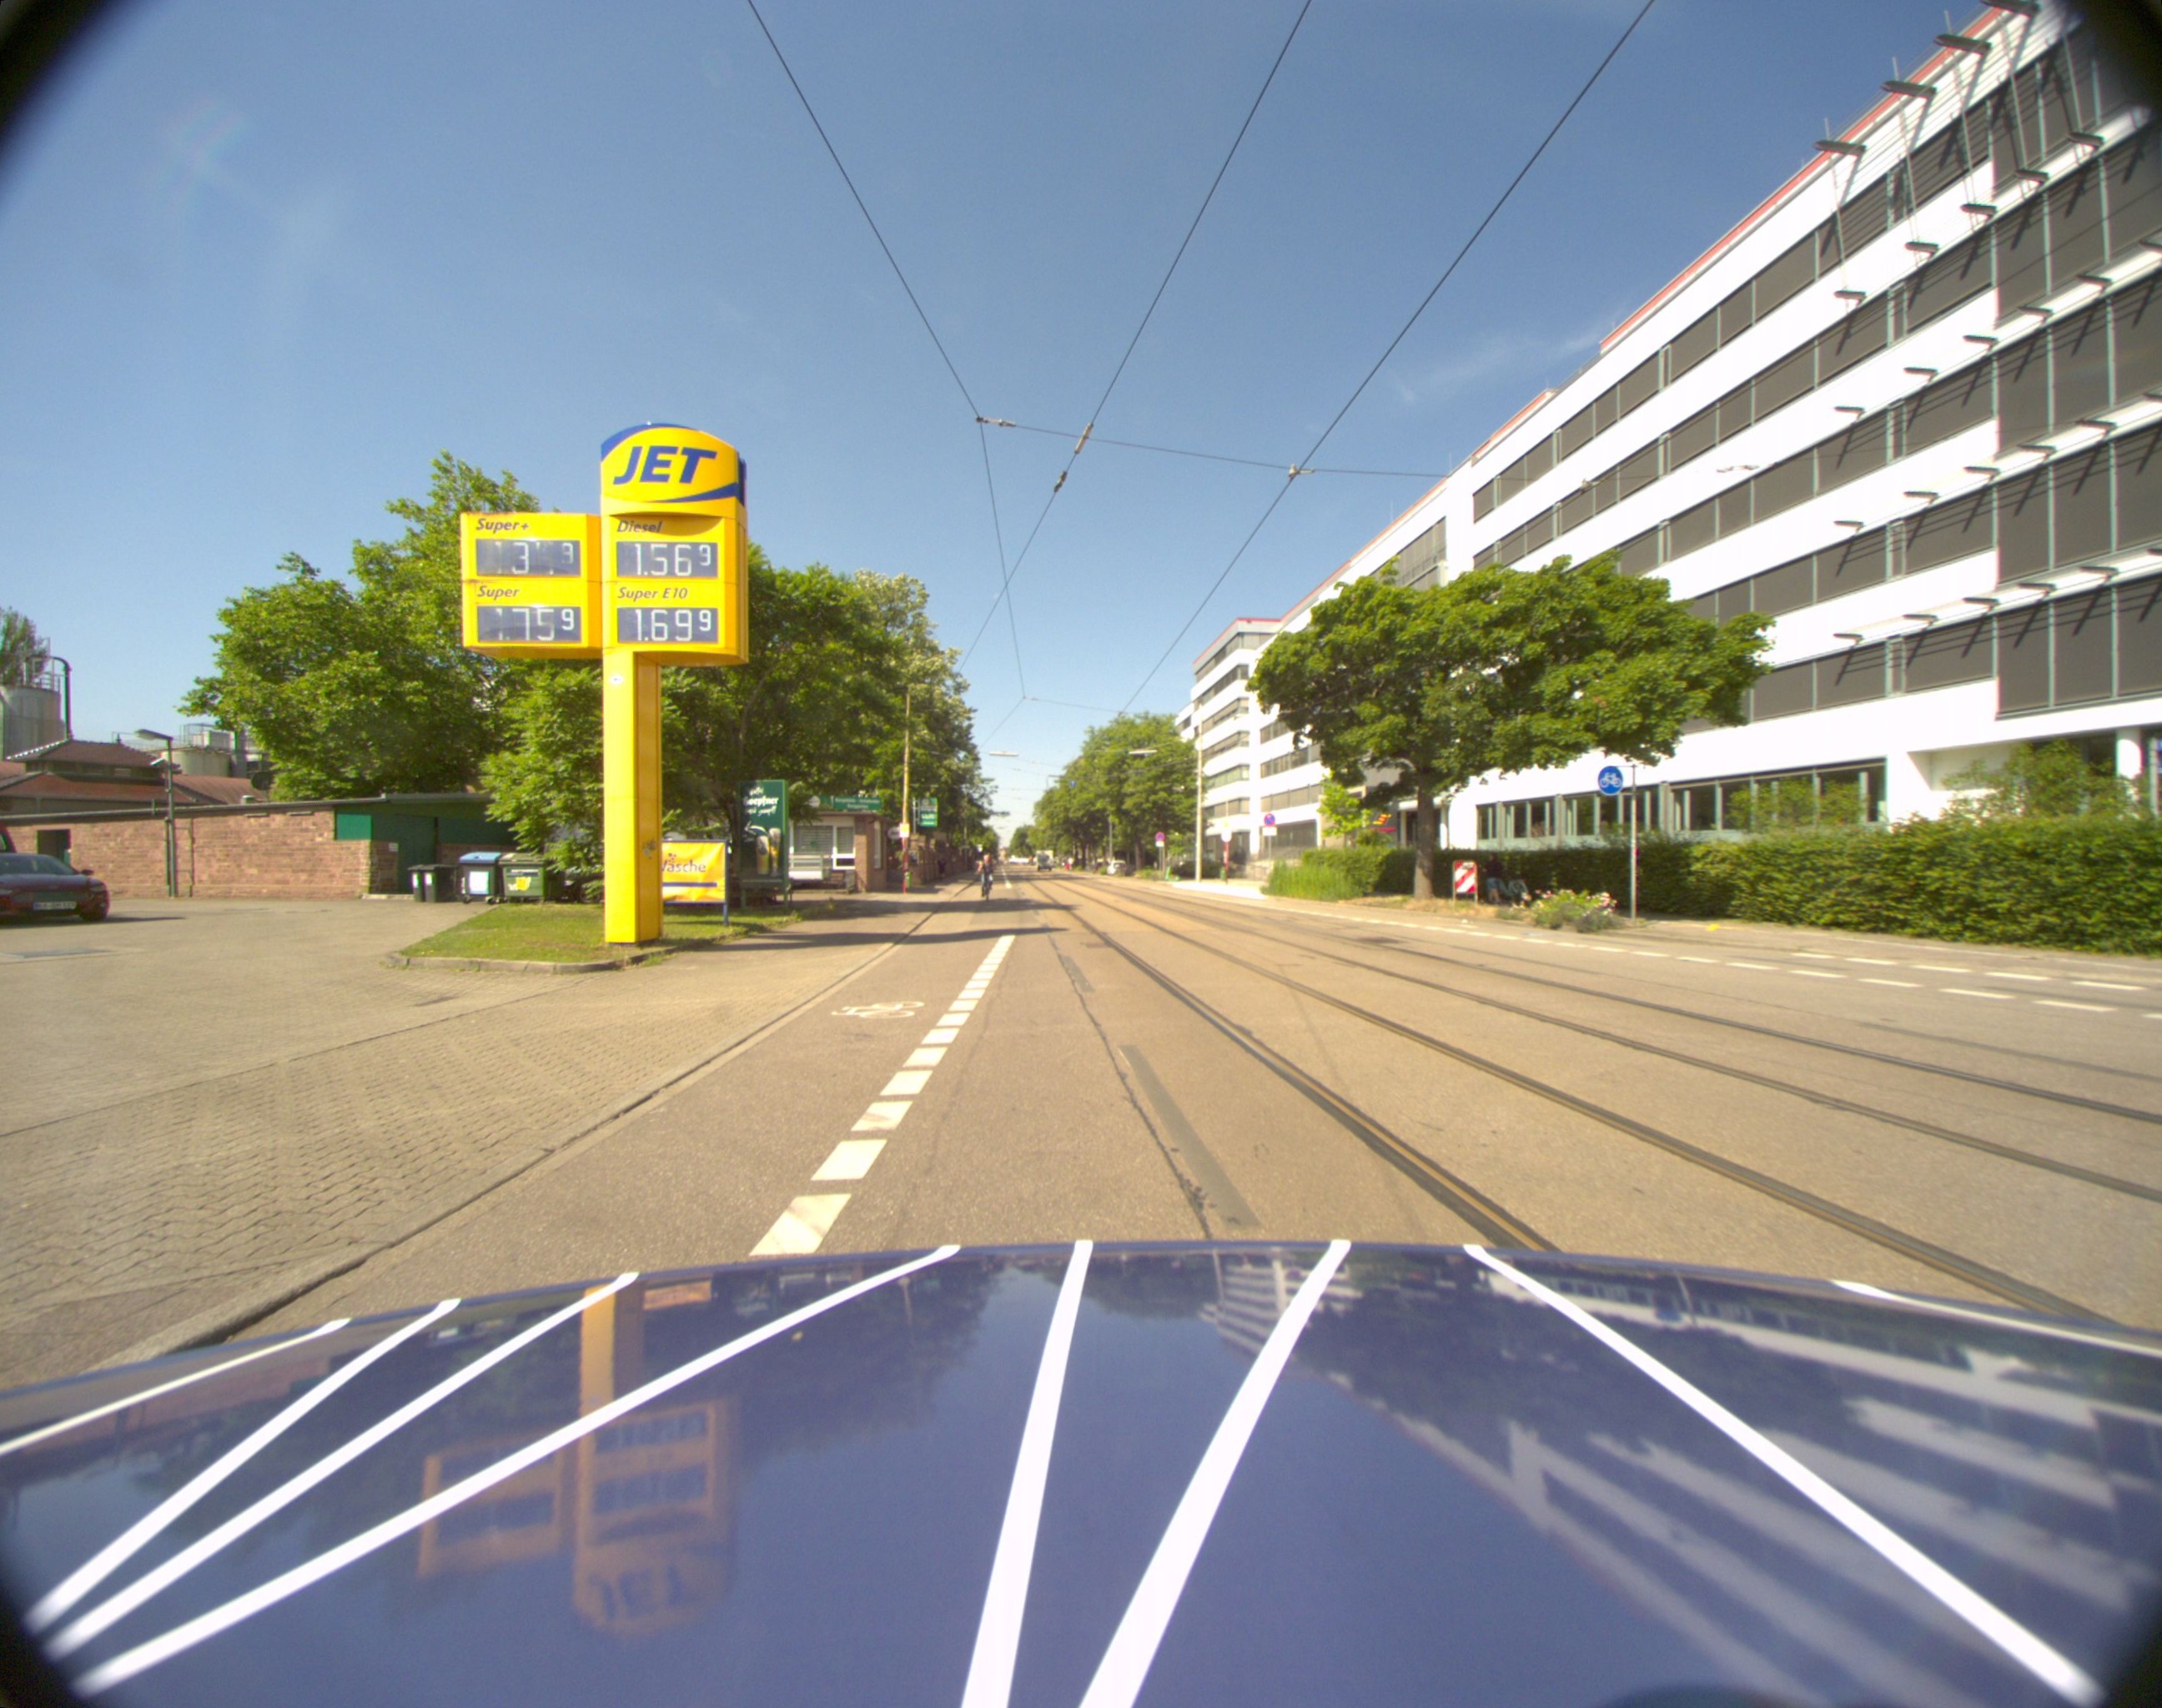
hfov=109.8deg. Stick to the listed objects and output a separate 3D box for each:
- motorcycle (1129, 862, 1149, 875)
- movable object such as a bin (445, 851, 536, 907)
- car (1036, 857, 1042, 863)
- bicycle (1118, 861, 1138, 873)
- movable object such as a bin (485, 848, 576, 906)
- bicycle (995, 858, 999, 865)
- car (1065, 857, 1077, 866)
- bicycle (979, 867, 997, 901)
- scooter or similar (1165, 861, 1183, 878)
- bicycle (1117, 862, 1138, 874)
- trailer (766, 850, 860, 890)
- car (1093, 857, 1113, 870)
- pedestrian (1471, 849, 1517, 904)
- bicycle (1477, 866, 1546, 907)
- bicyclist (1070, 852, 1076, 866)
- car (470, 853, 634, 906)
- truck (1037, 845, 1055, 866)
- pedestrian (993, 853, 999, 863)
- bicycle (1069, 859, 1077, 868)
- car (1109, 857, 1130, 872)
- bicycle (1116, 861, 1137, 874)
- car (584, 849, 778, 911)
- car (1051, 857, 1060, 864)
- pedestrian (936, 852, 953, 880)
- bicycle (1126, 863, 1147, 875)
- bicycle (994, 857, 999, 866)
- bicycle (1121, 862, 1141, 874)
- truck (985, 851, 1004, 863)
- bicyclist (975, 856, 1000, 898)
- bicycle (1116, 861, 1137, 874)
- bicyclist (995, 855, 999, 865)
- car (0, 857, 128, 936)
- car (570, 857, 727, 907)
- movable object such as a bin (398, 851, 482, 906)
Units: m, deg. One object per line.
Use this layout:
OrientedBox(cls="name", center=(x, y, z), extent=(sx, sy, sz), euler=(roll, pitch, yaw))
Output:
OrientedBox(cls="motorcycle", center=(5.168, 1.280, 67.933), extent=(1.729, 1.080, 0.658), euler=(-1, 0, -6))
OrientedBox(cls="movable object such as a bin", center=(-16.408, 0.668, 21.159), extent=(1.420, 1.493, 1.380), euler=(0, 0, 11))
OrientedBox(cls="car", center=(-12.290, 1.733, 221.037), extent=(1.635, 1.463, 4.112), euler=(-1, 0, -5))
OrientedBox(cls="bicycle", center=(4.324, 1.239, 70.142), extent=(1.798, 1.080, 0.726), euler=(-1, 0, -6))
OrientedBox(cls="movable object such as a bin", center=(-14.764, 0.603, 20.438), extent=(1.421, 1.493, 1.379), euler=(0, 0, -2))
OrientedBox(cls="bicycle", center=(-13.563, 1.218, 122.889), extent=(0.593, 1.099, 2.053), euler=(0, 0, -5))
OrientedBox(cls="car", center=(-1.704, 1.292, 127.251), extent=(1.635, 1.463, 3.717), euler=(-1, 0, -7))
OrientedBox(cls="bicycle", center=(-3.568, 1.130, 29.127), extent=(0.612, 1.190, 2.122), euler=(-3, 0, -7))
OrientedBox(cls="scooter or similar", center=(6.412, 1.049, 52.460), extent=(1.129, 1.159, 0.675), euler=(-1, 0, -3))
OrientedBox(cls="bicycle", center=(4.349, 1.322, 70.677), extent=(1.854, 1.125, 0.680), euler=(-1, 0, -6))
OrientedBox(cls="trailer", center=(-10.948, 0.630, 31.214), extent=(3.283, 1.594, 1.723), euler=(0, 0, -4))
OrientedBox(cls="car", center=(2.487, 1.066, 88.410), extent=(1.635, 1.474, 4.270), euler=(0, 0, -8))
OrientedBox(cls="pedestrian", center=(11.957, 0.635, 22.011), extent=(0.688, 1.554, 0.987), euler=(-2, 0, -10))
OrientedBox(cls="bicycle", center=(12.440, 0.902, 22.037), extent=(0.638, 1.111, 2.066), euler=(0, 0, -6))
OrientedBox(cls="bicyclist", center=(-1.033, 0.655, 99.121), extent=(0.638, 1.860, 1.024), euler=(-1, 0, -6))
OrientedBox(cls="car", center=(-17.031, 0.761, 24.628), extent=(1.842, 1.548, 4.009), euler=(0, 0, 38))
OrientedBox(cls="truck", center=(-5.235, 0.222, 113.423), extent=(2.410, 3.090, 6.034), euler=(0, 0, -6))
OrientedBox(cls="pedestrian", center=(-18.121, 0.877, 162.337), extent=(1.107, 2.002, 1.165), euler=(-2, 0, -6))
OrientedBox(cls="bicycle", center=(-1.074, 1.194, 99.122), extent=(0.858, 1.103, 2.138), euler=(0, 0, -6))
OrientedBox(cls="car", center=(3.794, 1.057, 75.935), extent=(1.634, 1.463, 3.629), euler=(0, 0, -4))
OrientedBox(cls="bicycle", center=(4.292, 1.248, 72.002), extent=(1.910, 1.162, 0.818), euler=(-1, 0, -6))
OrientedBox(cls="car", center=(-11.694, 0.701, 22.519), extent=(2.014, 1.631, 4.670), euler=(0, 0, 38))
OrientedBox(cls="car", center=(-5.329, 1.415, 158.665), extent=(1.635, 1.463, 4.112), euler=(-1, 0, -5))
OrientedBox(cls="pedestrian", center=(-9.413, 0.816, 52.344), extent=(0.979, 1.805, 1.184), euler=(3, 0, -5))
OrientedBox(cls="bicycle", center=(4.813, 1.294, 65.672), extent=(1.729, 1.080, 0.789), euler=(-1, 0, -6))
OrientedBox(cls="bicycle", center=(-18.001, 1.628, 162.372), extent=(1.000, 1.733, 3.161), euler=(-2, 0, -5))
OrientedBox(cls="bicycle", center=(4.535, 1.305, 69.274), extent=(1.729, 1.080, 0.639), euler=(-1, 0, -6))
OrientedBox(cls="truck", center=(-28.873, 1.120, 254.128), extent=(2.816, 3.836, 10.014), euler=(0, 0, 17))
OrientedBox(cls="bicyclist", center=(-3.565, 0.857, 29.012), extent=(0.906, 1.586, 0.964), euler=(-1, 0, -6))
OrientedBox(cls="bicycle", center=(4.292, 1.266, 71.352), extent=(1.878, 1.135, 0.685), euler=(-1, 0, -6))
OrientedBox(cls="bicyclist", center=(-13.543, 0.939, 122.661), extent=(0.742, 1.522, 0.947), euler=(0, 0, -5))
OrientedBox(cls="car", center=(-22.369, 0.808, 15.759), extent=(4.545, 1.452, 1.895), euler=(0, 1, 21))
OrientedBox(cls="car", center=(-13.807, 0.826, 24.433), extent=(1.842, 1.465, 4.009), euler=(0, 0, 38))
OrientedBox(cls="movable object such as a bin", center=(-18.262, 0.694, 21.662), extent=(1.327, 1.494, 1.333), euler=(-2, 0, 24))
